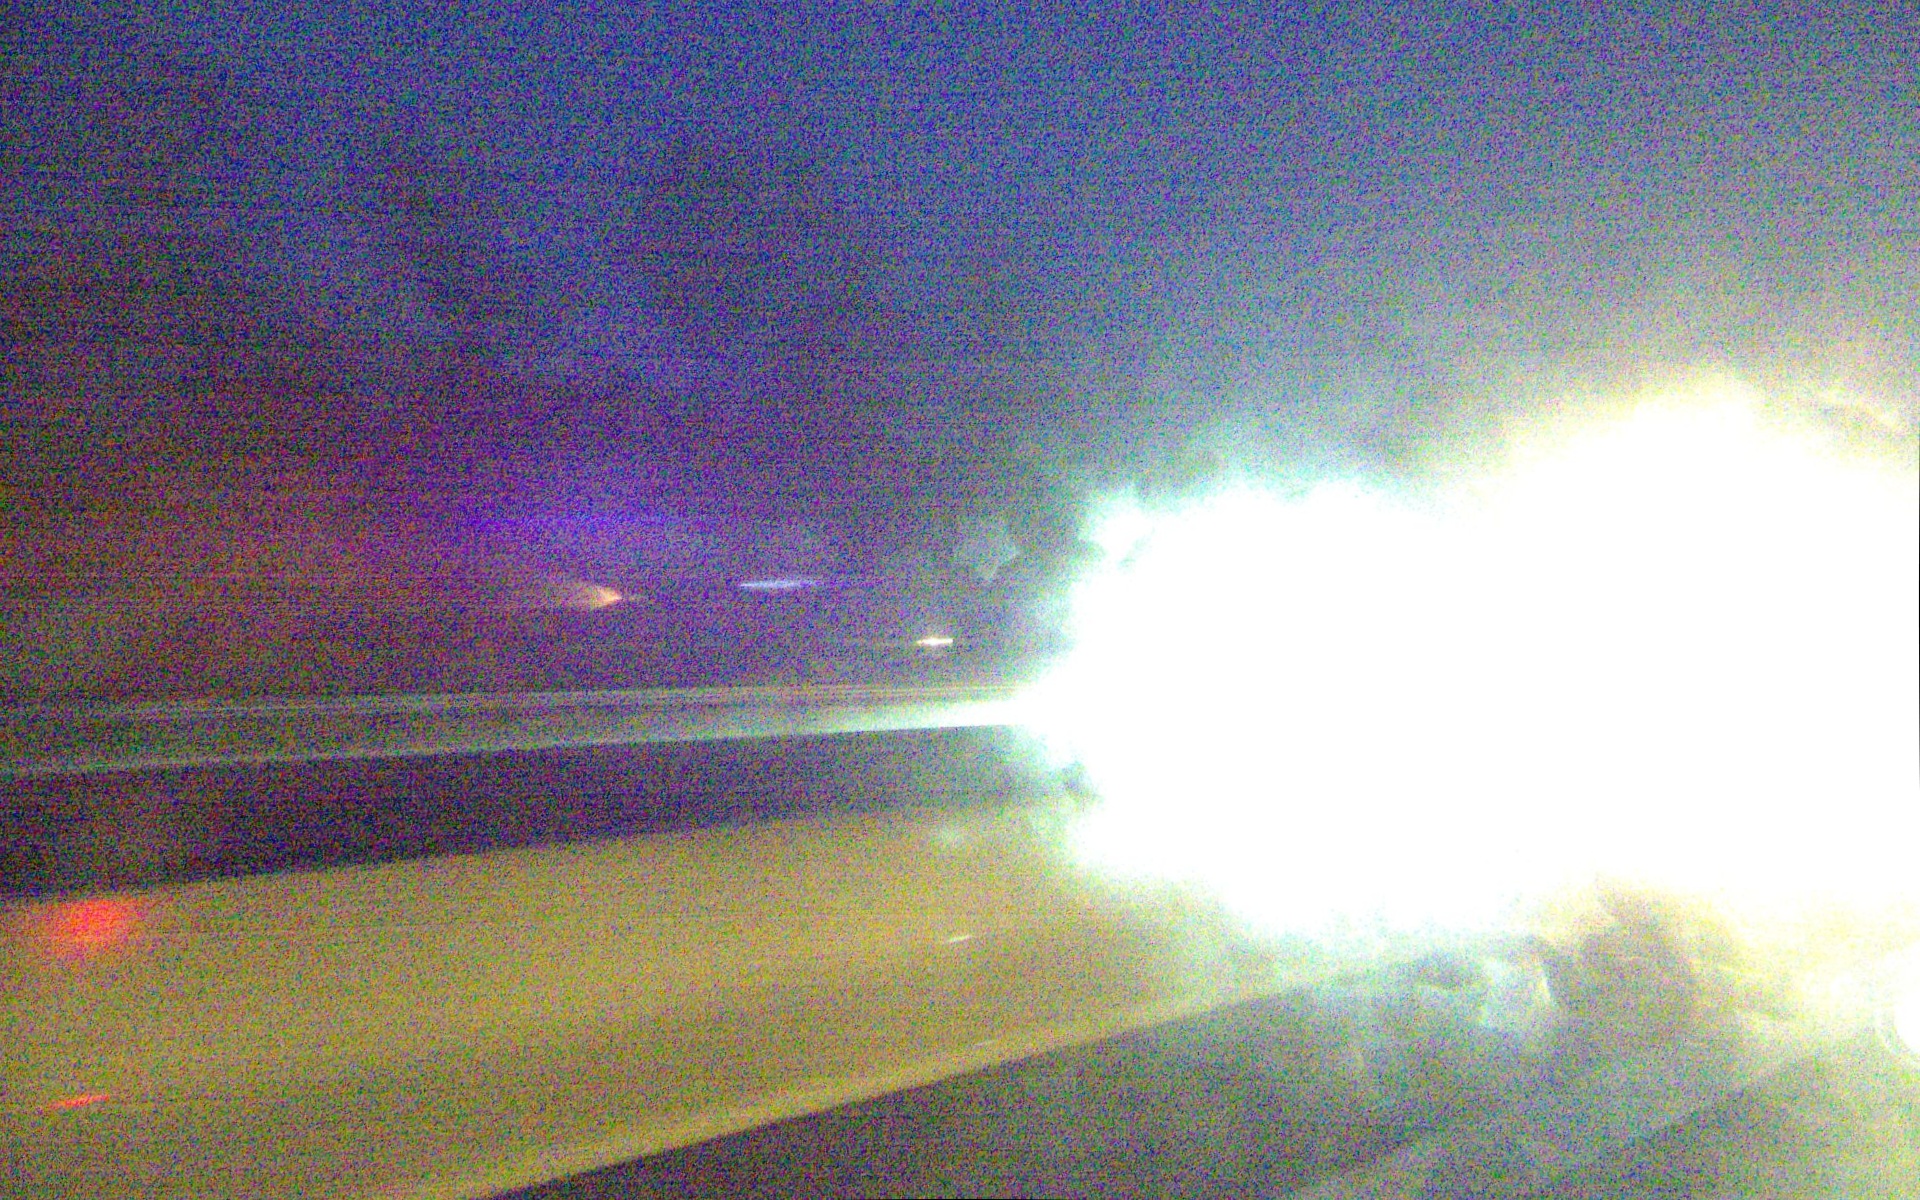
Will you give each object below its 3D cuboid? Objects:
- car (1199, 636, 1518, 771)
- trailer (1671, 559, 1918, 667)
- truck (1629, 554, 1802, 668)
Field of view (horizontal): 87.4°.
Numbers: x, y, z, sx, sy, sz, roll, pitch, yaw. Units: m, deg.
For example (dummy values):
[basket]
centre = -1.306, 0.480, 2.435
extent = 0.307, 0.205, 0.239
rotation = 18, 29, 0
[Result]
[car]
centre = 5.137, 1.208, 12.849
extent = 3.953, 1.461, 1.771
rotation = 1, -1, -30
[trailer]
centre = 32.091, 0.579, 38.258
extent = 13.989, 3.618, 2.628
rotation = 1, -1, -30
[truck]
centre = 26.144, 0.426, 34.730
extent = 6.103, 3.627, 2.628
rotation = 1, -1, -30
